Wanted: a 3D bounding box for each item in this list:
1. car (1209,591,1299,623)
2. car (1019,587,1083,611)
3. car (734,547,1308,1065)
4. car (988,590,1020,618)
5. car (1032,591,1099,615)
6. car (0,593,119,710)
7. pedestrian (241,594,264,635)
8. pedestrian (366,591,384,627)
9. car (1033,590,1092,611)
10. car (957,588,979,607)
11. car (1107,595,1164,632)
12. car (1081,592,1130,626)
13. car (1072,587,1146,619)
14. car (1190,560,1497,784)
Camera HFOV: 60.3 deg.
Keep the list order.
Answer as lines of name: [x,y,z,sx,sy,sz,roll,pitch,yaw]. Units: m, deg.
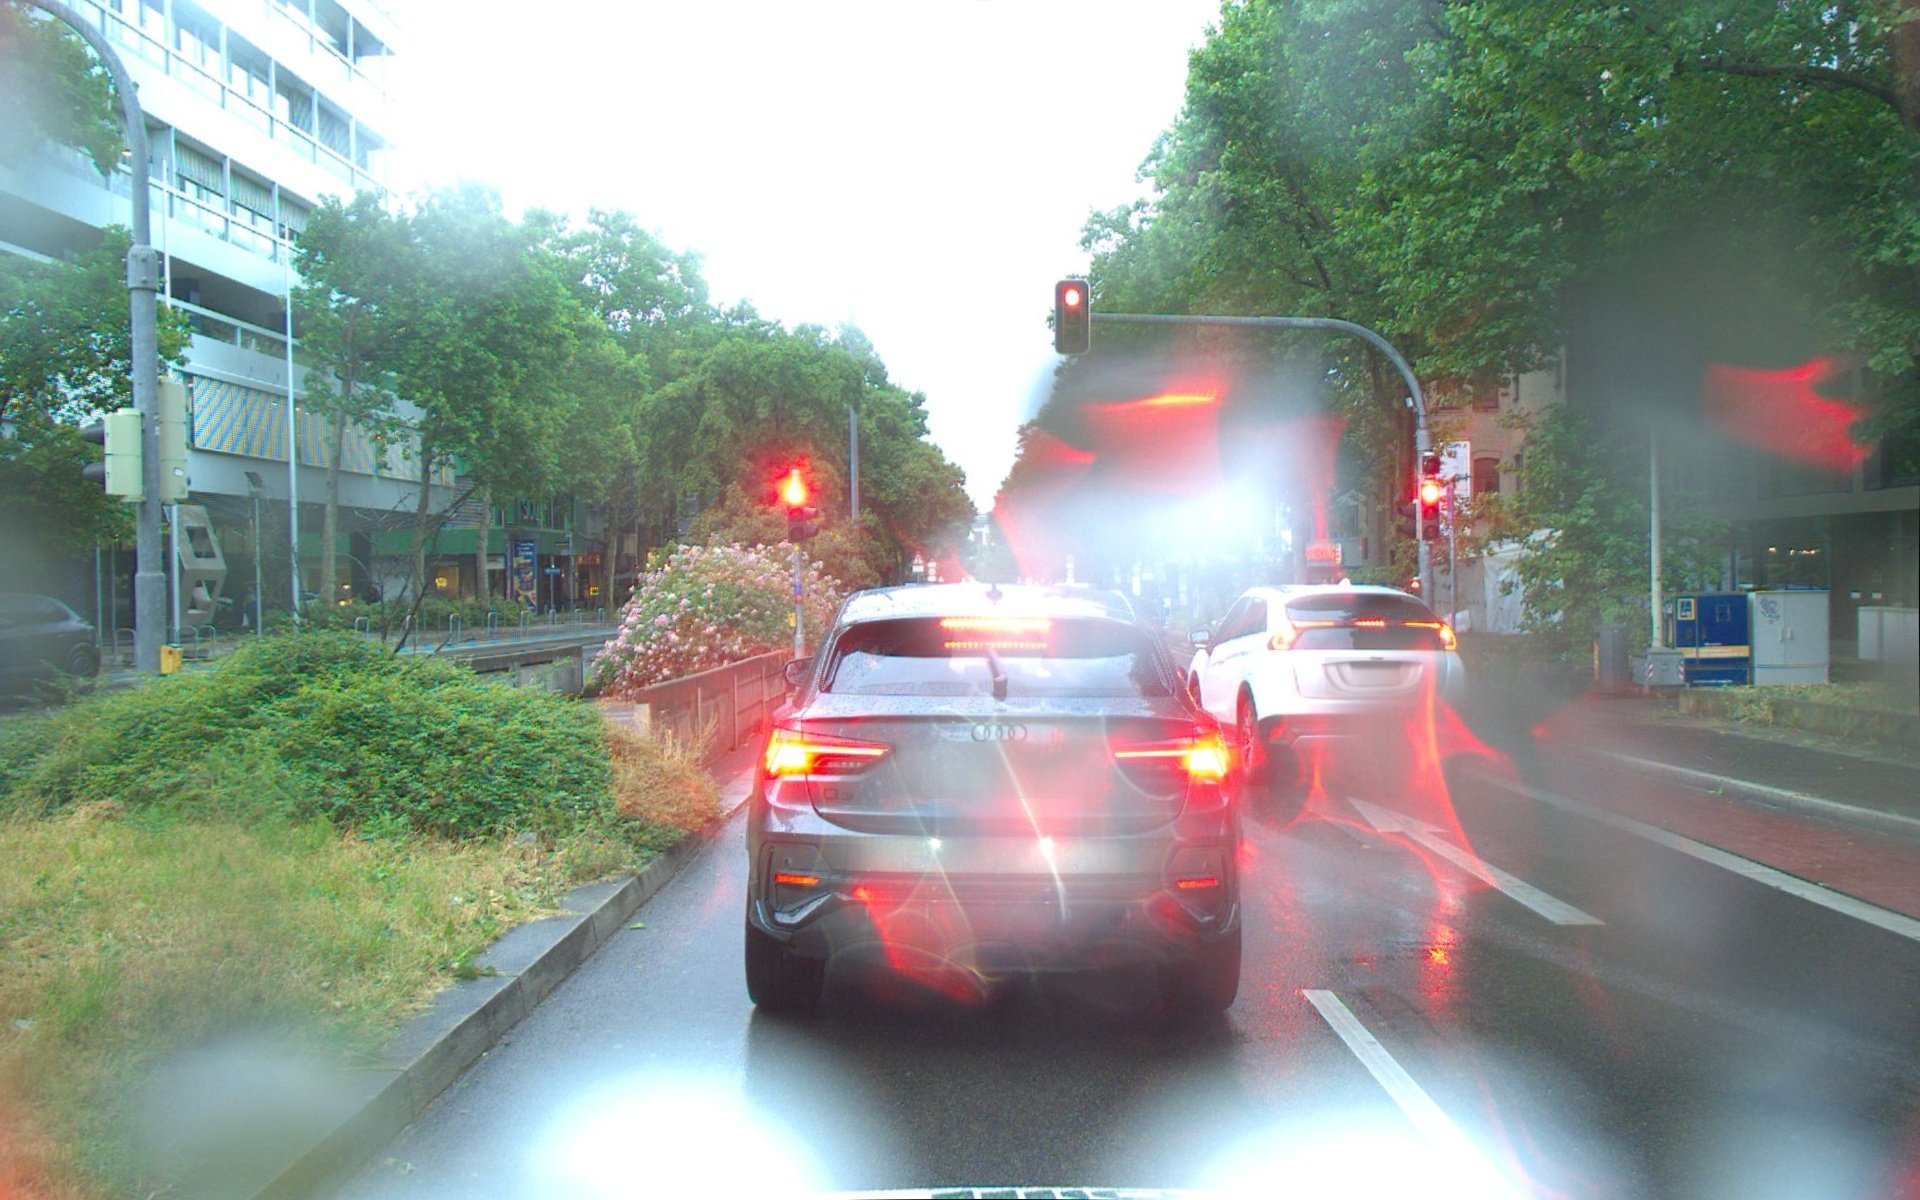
car: [10.450,0.246,58.782,2.831,1.093,1.452,1,-1,31]
car: [7.025,-0.078,128.032,4.549,1.736,1.997,1,-1,28]
car: [0.166,0.650,7.230,1.812,1.630,3.999,0,0,-1]
car: [2.883,0.274,109.861,1.953,1.757,3.999,1,0,-1]
car: [7.836,0.230,123.333,4.549,1.736,1.997,1,-1,28]
car: [-14.034,0.694,23.094,1.869,1.612,4.748,1,0,4]
pedestrian: [-24.291,0.501,56.785,0.626,1.404,0.473,1,-1,-12]
pedestrian: [-24.517,0.375,69.296,0.599,1.508,0.573,1,-1,-12]
car: [8.699,0.026,140.725,4.549,1.736,1.997,1,-1,28]
car: [0.702,-0.197,145.880,1.857,1.627,3.938,1,0,-1]
car: [7.239,0.550,68.621,1.835,1.446,4.611,1,0,0]
car: [6.942,0.439,79.395,1.693,1.599,4.070,1,0,-4]
car: [9.831,0.184,109.033,4.519,2.049,1.959,1,-1,39]
car: [3.292,0.583,14.991,1.839,1.727,4.000,1,0,0]
